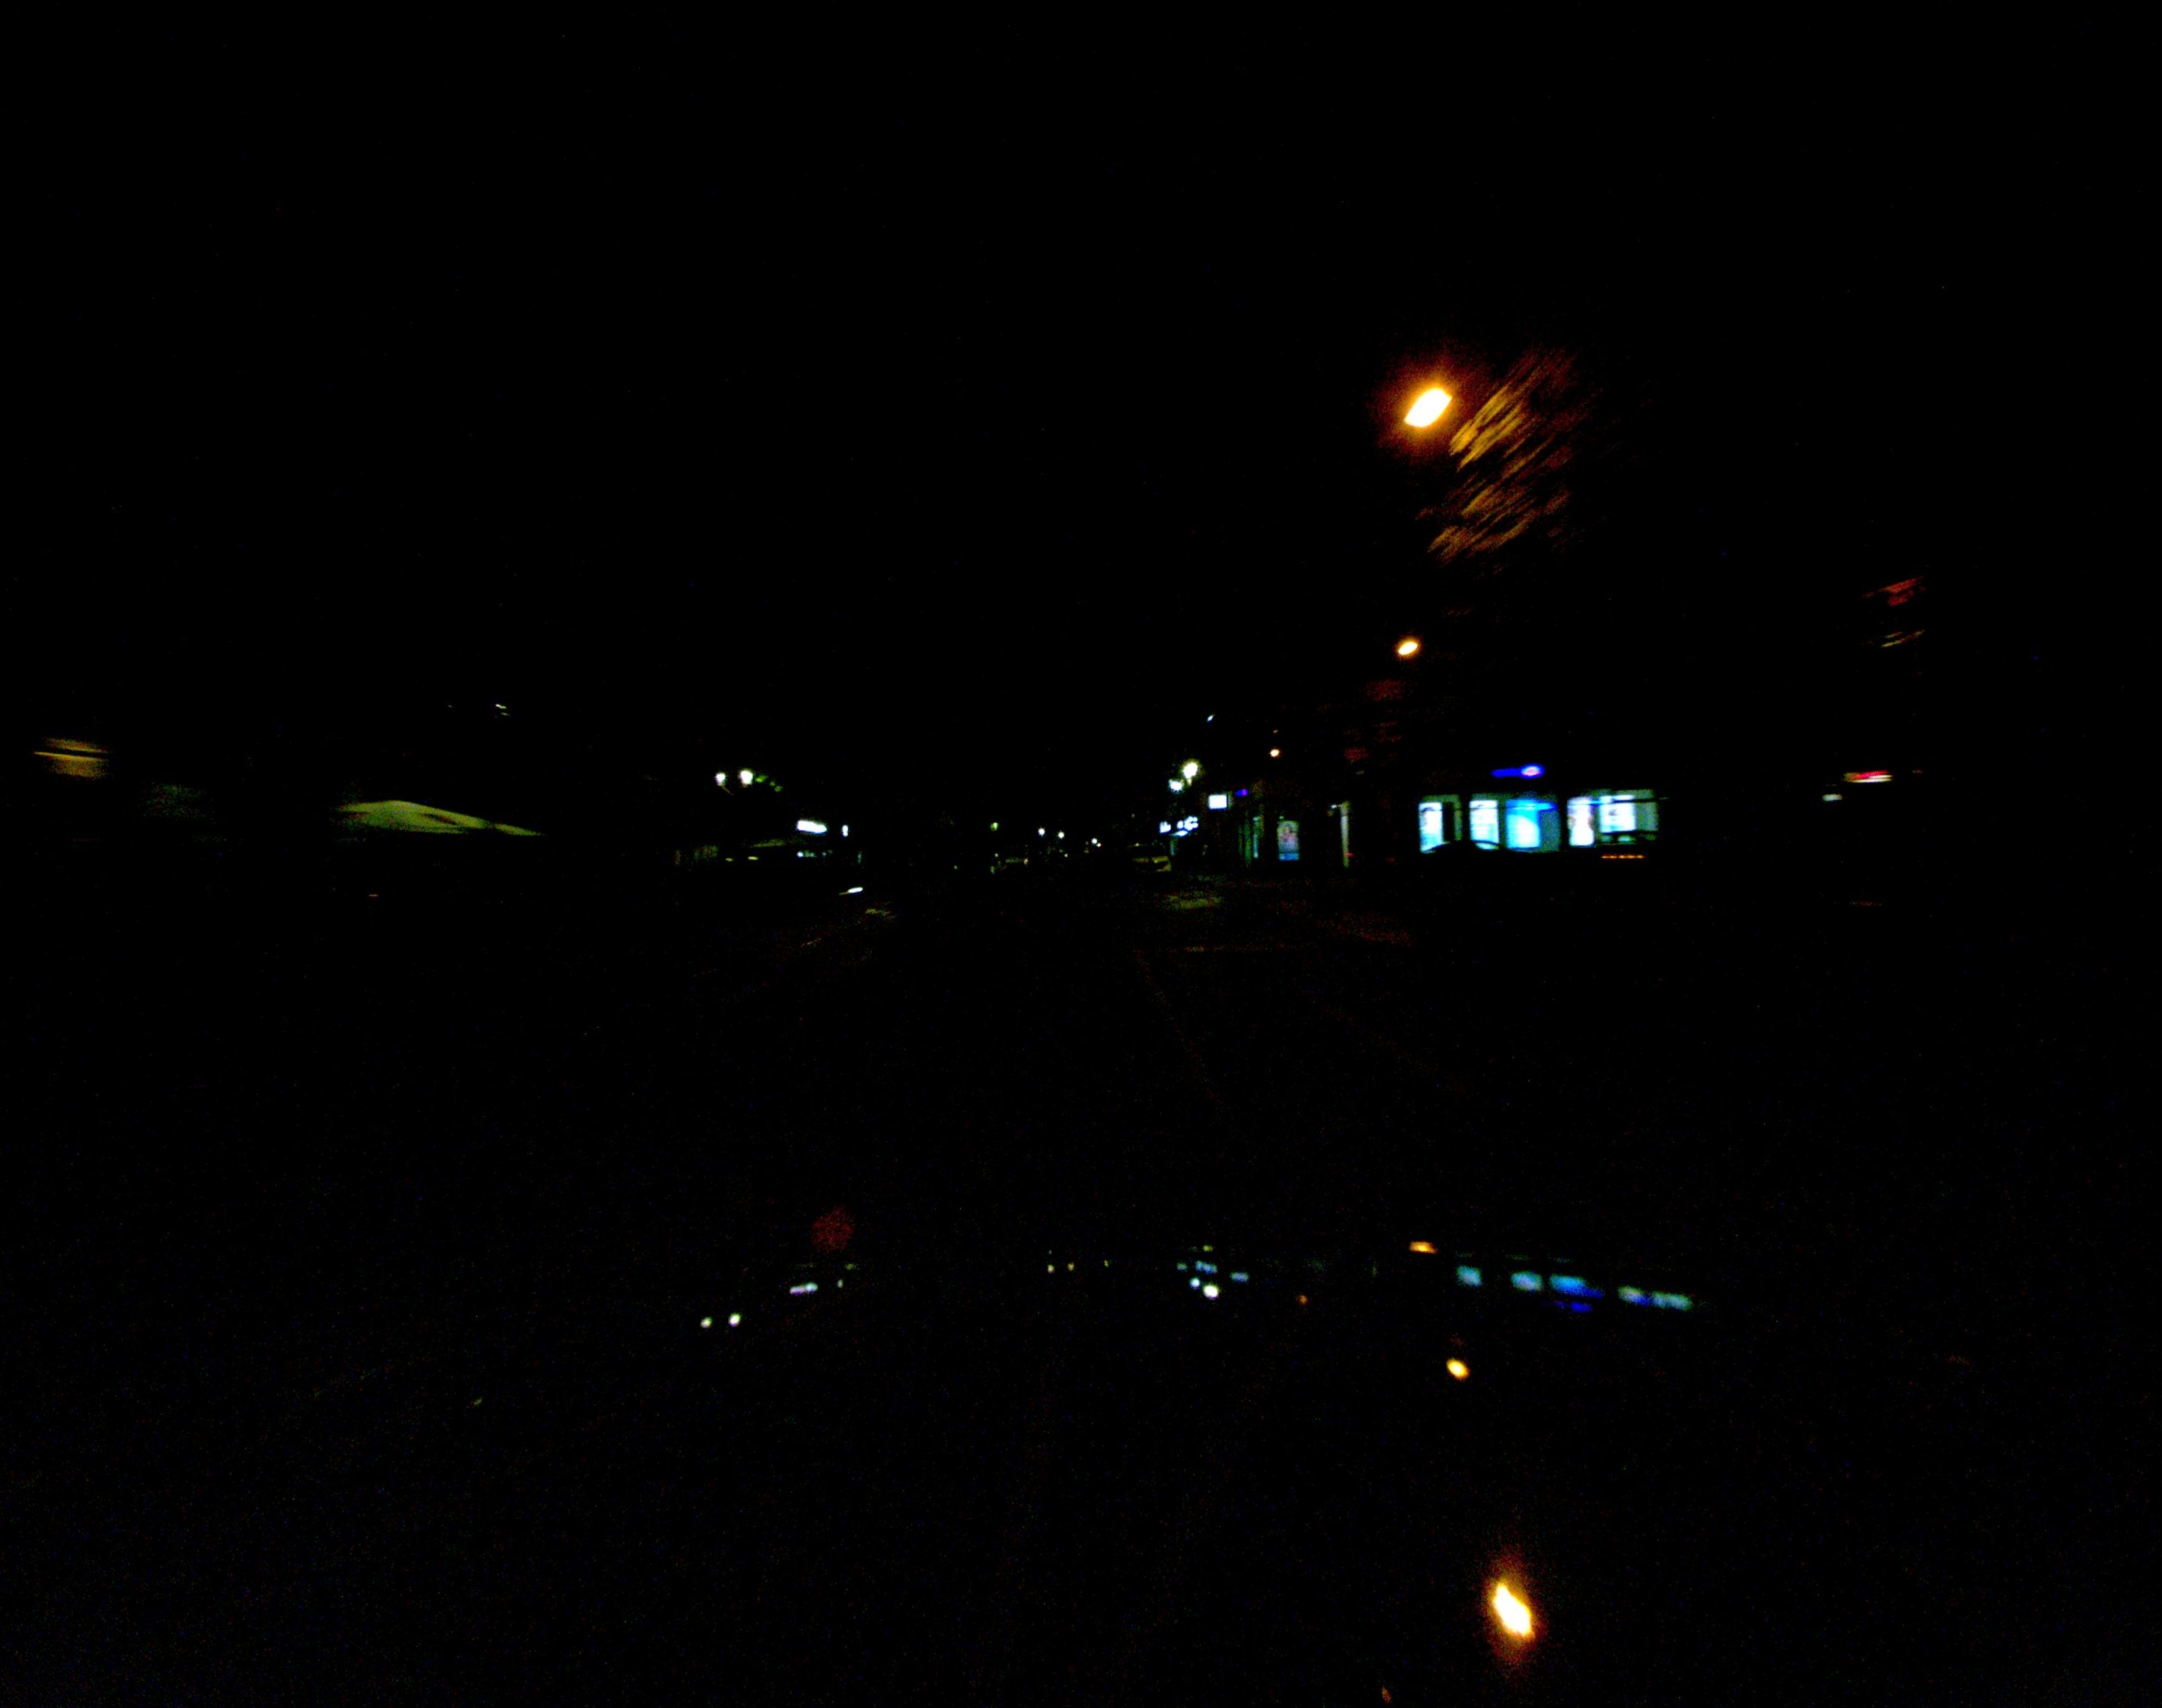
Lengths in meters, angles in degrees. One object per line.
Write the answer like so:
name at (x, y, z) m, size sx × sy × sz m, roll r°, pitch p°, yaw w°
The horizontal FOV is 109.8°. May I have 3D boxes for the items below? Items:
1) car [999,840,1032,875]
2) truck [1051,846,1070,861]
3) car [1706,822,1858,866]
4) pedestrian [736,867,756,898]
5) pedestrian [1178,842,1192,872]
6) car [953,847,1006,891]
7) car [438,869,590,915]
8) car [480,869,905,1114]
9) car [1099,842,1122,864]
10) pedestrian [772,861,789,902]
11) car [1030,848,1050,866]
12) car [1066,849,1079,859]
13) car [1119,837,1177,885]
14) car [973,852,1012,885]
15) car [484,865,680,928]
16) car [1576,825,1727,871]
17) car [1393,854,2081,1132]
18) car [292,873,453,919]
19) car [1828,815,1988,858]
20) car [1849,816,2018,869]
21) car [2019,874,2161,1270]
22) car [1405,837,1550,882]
car at (-4.554, 0.238, 53.434) m, size 2.140 × 2.313 × 5.149 m, roll -2°, pitch 0°, yaw -4°
truck at (-3.052, -0.088, 115.094) m, size 2.109 × 2.230 × 6.289 m, roll -2°, pitch 0°, yaw 5°
car at (25.683, -0.369, 27.924) m, size 3.908 × 1.387 × 1.803 m, roll -2°, pitch 1°, yaw 0°
pedestrian at (-14.014, 1.179, 31.766) m, size 0.501 × 1.256 × 0.530 m, roll -2°, pitch 1°, yaw 28°
pedestrian at (6.465, 0.188, 47.306) m, size 0.719 × 1.795 × 0.716 m, roll -2°, pitch 1°, yaw 1°
car at (-4.579, 0.630, 34.739) m, size 1.793 × 1.811 × 4.579 m, roll -2°, pitch 0°, yaw -1°
car at (-20.623, 1.373, 27.761) m, size 4.153 × 1.540 × 1.803 m, roll -1°, pitch -1°, yaw 0°
car at (-3.074, 0.960, 7.165) m, size 1.774 × 1.528 × 4.216 m, roll 0°, pitch 0°, yaw 1°
car at (2.797, -0.116, 72.894) m, size 1.930 × 1.954 × 5.076 m, roll -4°, pitch 0°, yaw 0°
pedestrian at (-11.882, 1.075, 30.033) m, size 0.480 × 1.578 × 0.372 m, roll -1°, pitch 1°, yaw 36°
car at (-4.262, 0.281, 79.683) m, size 1.912 × 1.792 × 4.936 m, roll -2°, pitch 0°, yaw 0°
car at (-1.369, -0.004, 129.640) m, size 1.737 × 1.493 × 4.001 m, roll -2°, pitch 0°, yaw 5°
car at (3.218, 0.312, 37.533) m, size 1.858 × 2.075 × 5.088 m, roll -4°, pitch 1°, yaw -5°
car at (-4.708, 0.731, 40.933) m, size 1.688 × 1.650 × 4.296 m, roll -2°, pitch 0°, yaw -1°
car at (-14.197, 1.188, 21.795) m, size 4.327 × 1.523 × 1.802 m, roll -2°, pitch 2°, yaw 0°
car at (20.808, -0.213, 27.821) m, size 4.146 × 1.428 × 1.803 m, roll -2°, pitch 1°, yaw 0°
car at (4.700, 0.787, 6.731) m, size 1.811 × 1.417 × 4.921 m, roll -4°, pitch 0°, yaw 1°
car at (-25.697, 1.485, 27.660) m, size 4.153 × 1.540 × 1.803 m, roll -1°, pitch -1°, yaw 0°
car at (30.292, -0.622, 27.924) m, size 3.908 × 1.387 × 1.803 m, roll -2°, pitch 1°, yaw 0°
car at (24.845, -0.340, 22.220) m, size 3.098 × 1.376 × 1.659 m, roll -2°, pitch 1°, yaw 0°
car at (4.803, 0.783, 1.187) m, size 1.726 × 1.420 × 3.976 m, roll -4°, pitch 0°, yaw 1°
car at (14.406, 0.184, 27.761) m, size 4.339 × 1.389 × 1.803 m, roll -2°, pitch 1°, yaw 0°
